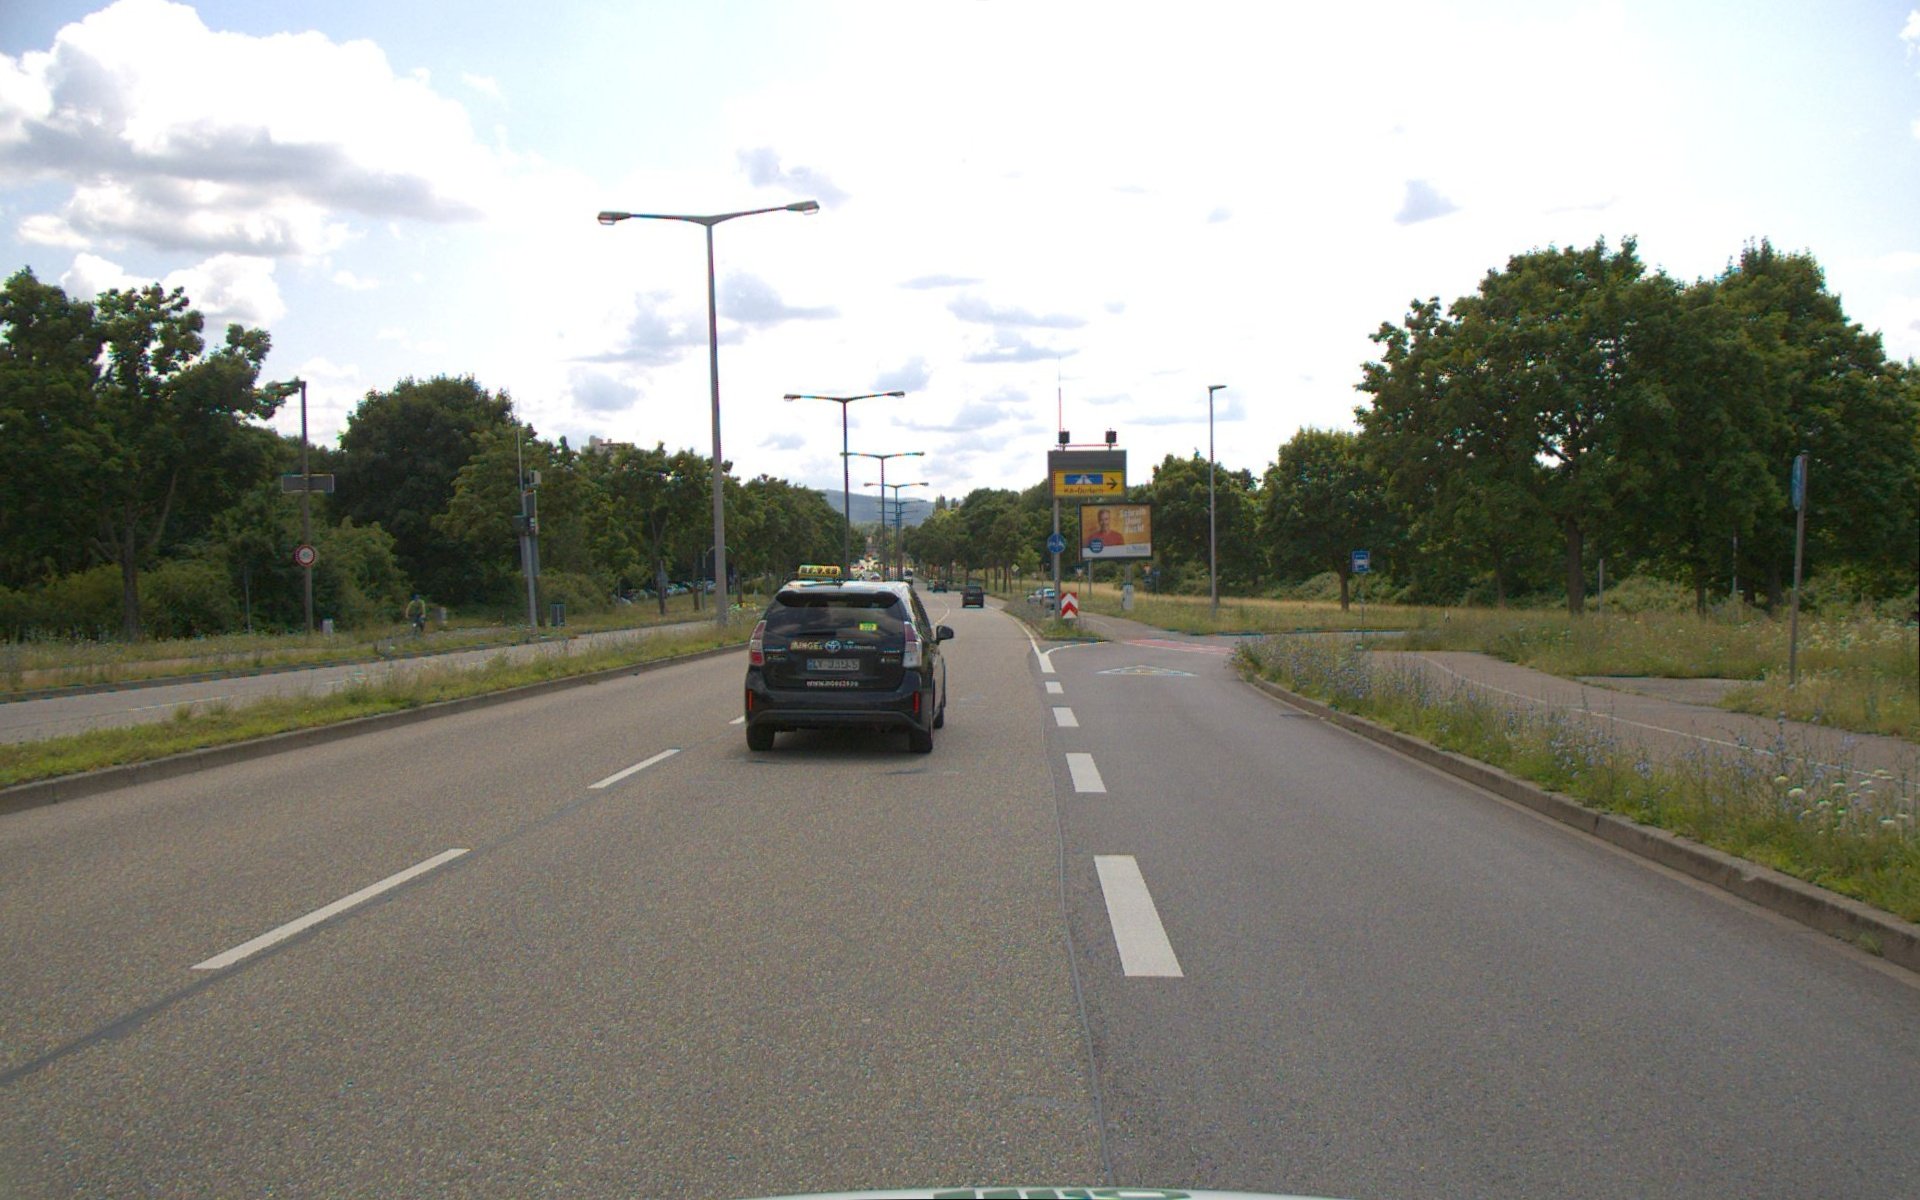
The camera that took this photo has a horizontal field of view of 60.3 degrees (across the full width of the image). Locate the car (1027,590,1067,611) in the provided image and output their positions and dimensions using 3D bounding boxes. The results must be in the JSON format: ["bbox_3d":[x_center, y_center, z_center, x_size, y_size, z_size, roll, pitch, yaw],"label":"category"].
[{"bbox_3d":[6.855,0.053,131.010,1.961,1.534,3.983,0,2,-16],"label":"car"}]

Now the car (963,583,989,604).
[{"bbox_3d":[1.322,-0.551,138.428,1.953,1.691,3.999,1,1,-2],"label":"car"}]

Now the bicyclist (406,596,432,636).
[{"bbox_3d":[-18.105,0.518,55.368,0.510,1.294,1.107,1,1,-2],"label":"bicyclist"}]

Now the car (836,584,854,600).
[{"bbox_3d":[-13.962,-0.964,201.341,1.839,1.821,4.727,-3,0,-1],"label":"car"}]

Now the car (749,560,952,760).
[{"bbox_3d":[-1.018,0.473,16.334,1.743,1.713,3.999,1,1,-2],"label":"car"}]

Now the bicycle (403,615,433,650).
[{"bbox_3d":[-18.116,1.075,55.313,0.423,1.087,1.907,1,1,-2],"label":"bicycle"}]

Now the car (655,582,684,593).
[{"bbox_3d":[-40.459,-1.712,230.091,3.706,1.412,1.786,1,1,1],"label":"car"}]
